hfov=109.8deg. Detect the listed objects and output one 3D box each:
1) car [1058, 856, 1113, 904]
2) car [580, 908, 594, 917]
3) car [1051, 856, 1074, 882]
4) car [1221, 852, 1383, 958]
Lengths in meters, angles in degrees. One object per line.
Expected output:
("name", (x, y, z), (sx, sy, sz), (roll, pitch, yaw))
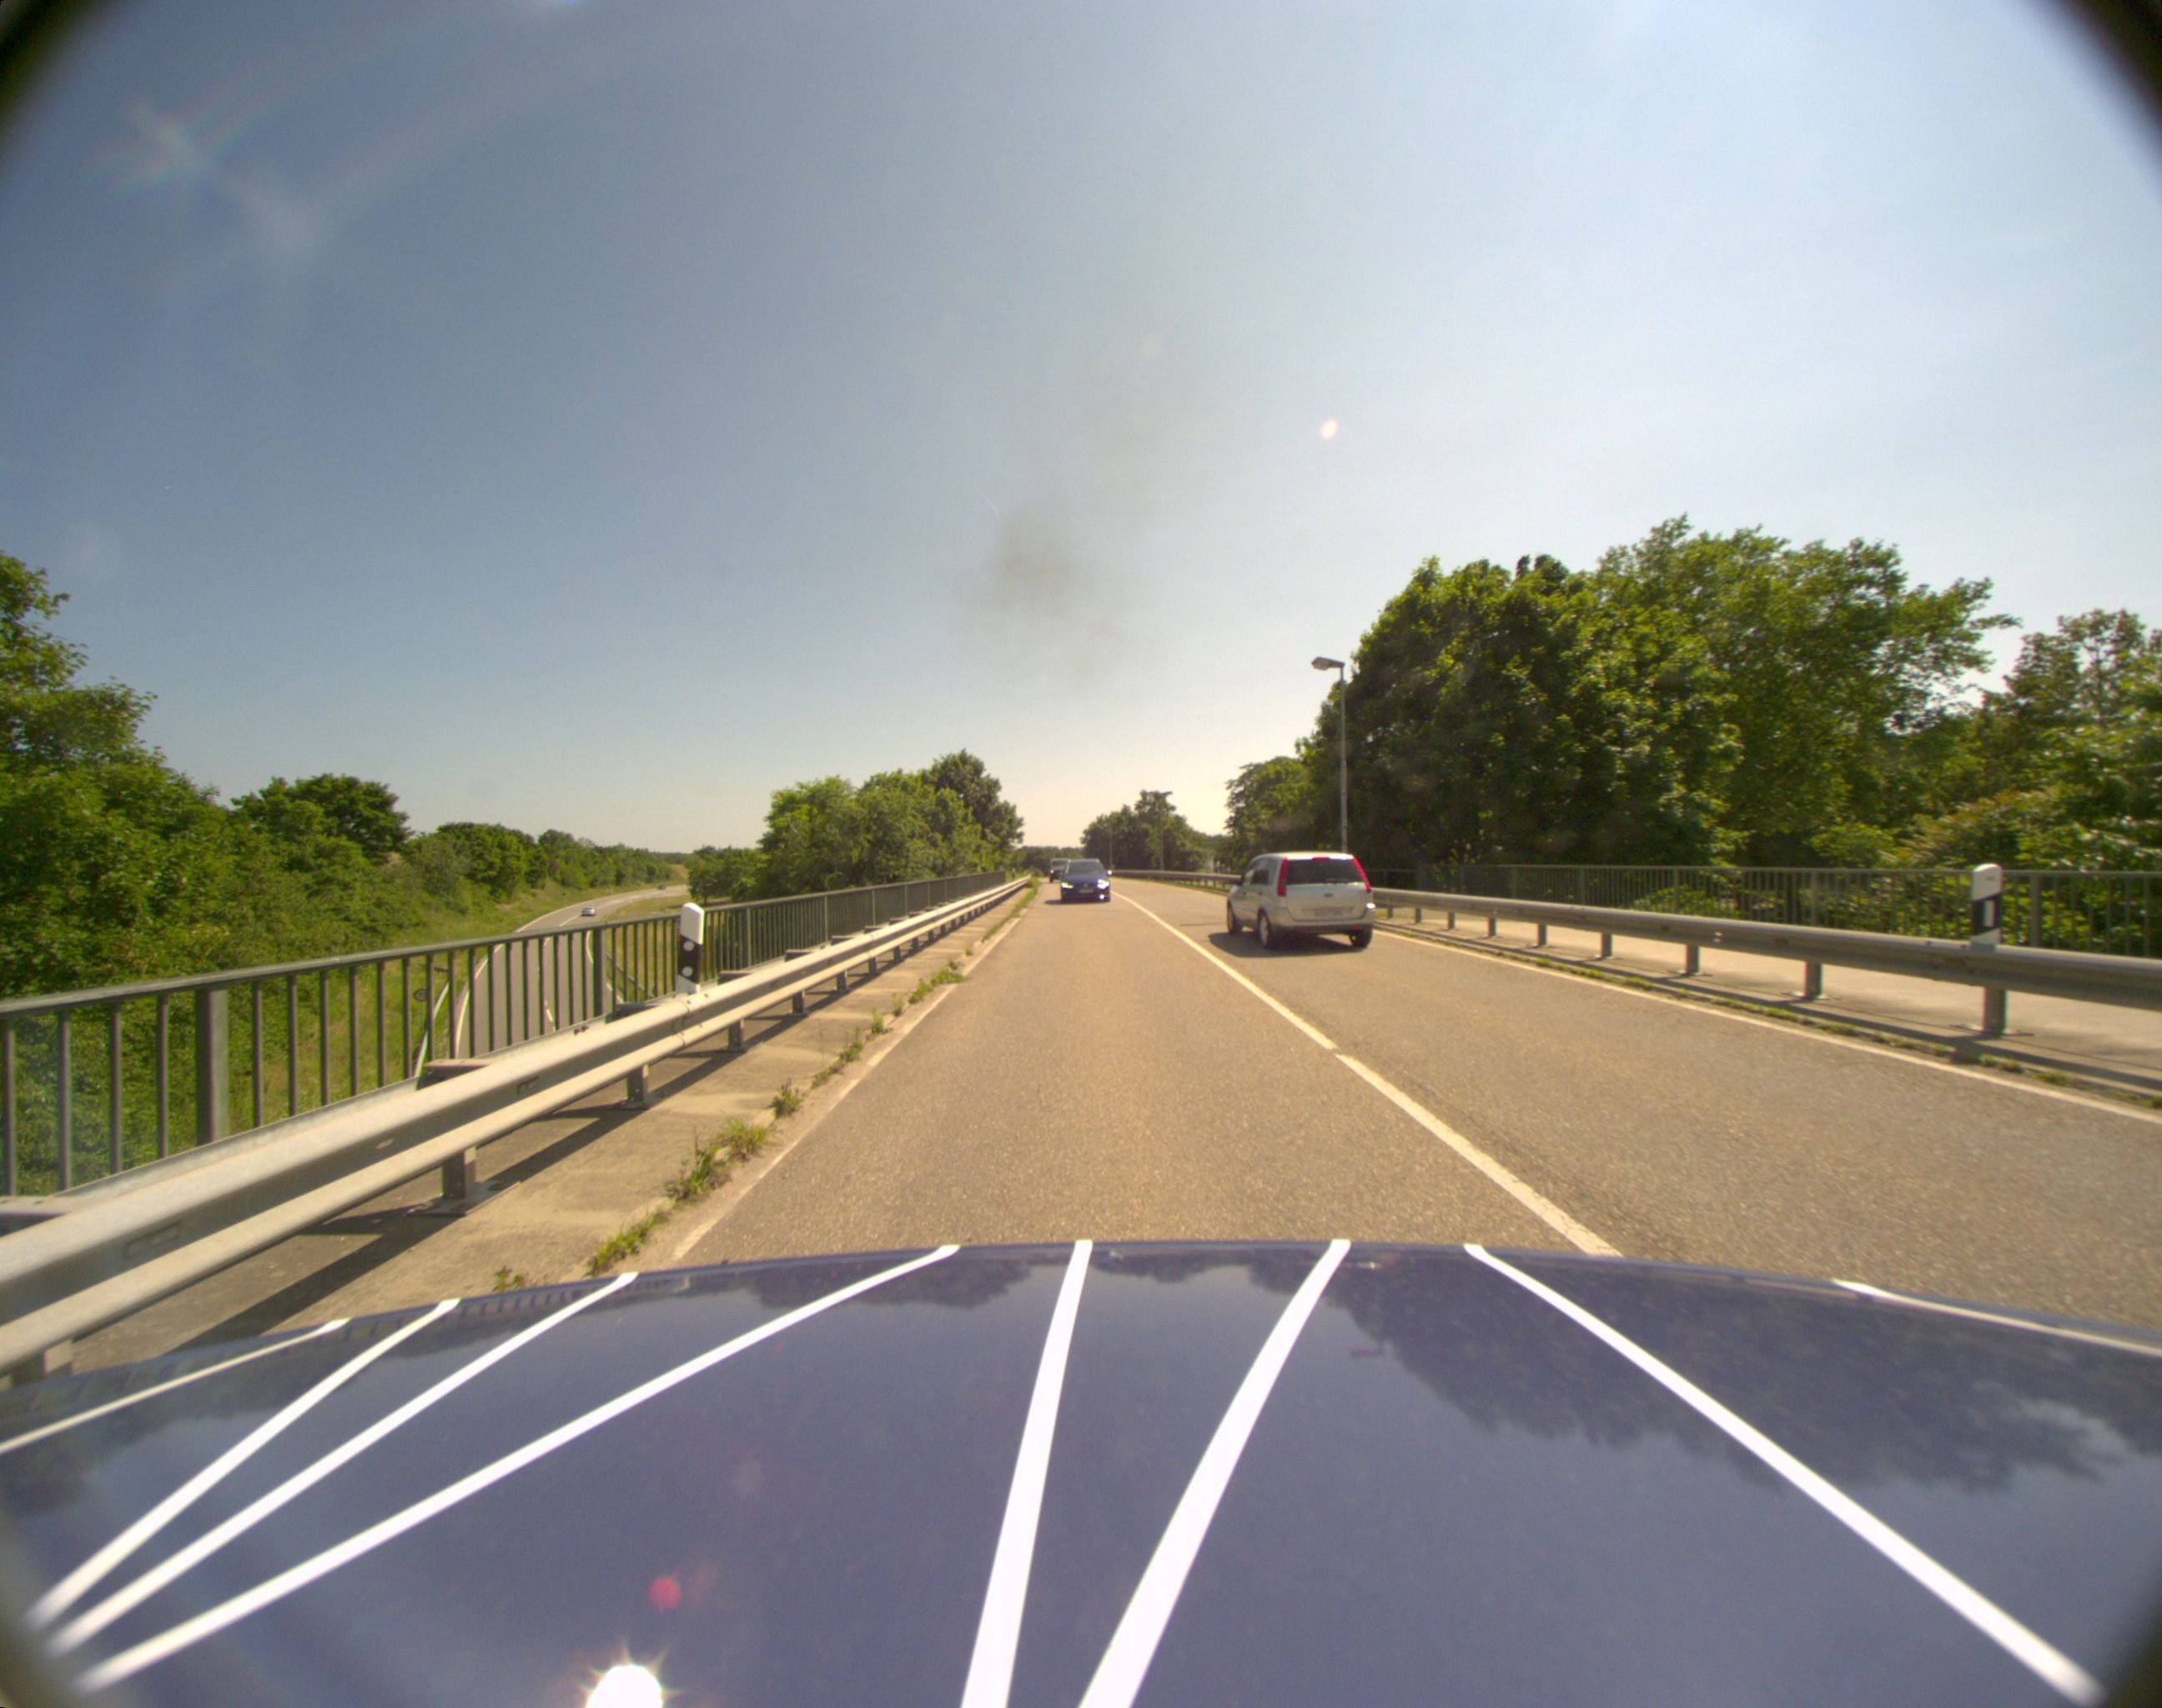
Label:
("car", (0.127, 0.914, 28.364), (1.828, 1.591, 4.195), (-2, 0, -1))
("car", (-81.747, 9.667, 125.725), (1.525, 1.188, 3.413), (-4, -3, -37))
("car", (-1.513, 1.241, 62.641), (1.779, 2.006, 4.001), (-1, -2, -1))
("car", (3.603, 0.759, 13.030), (1.671, 1.508, 3.665), (-2, 0, 0))
